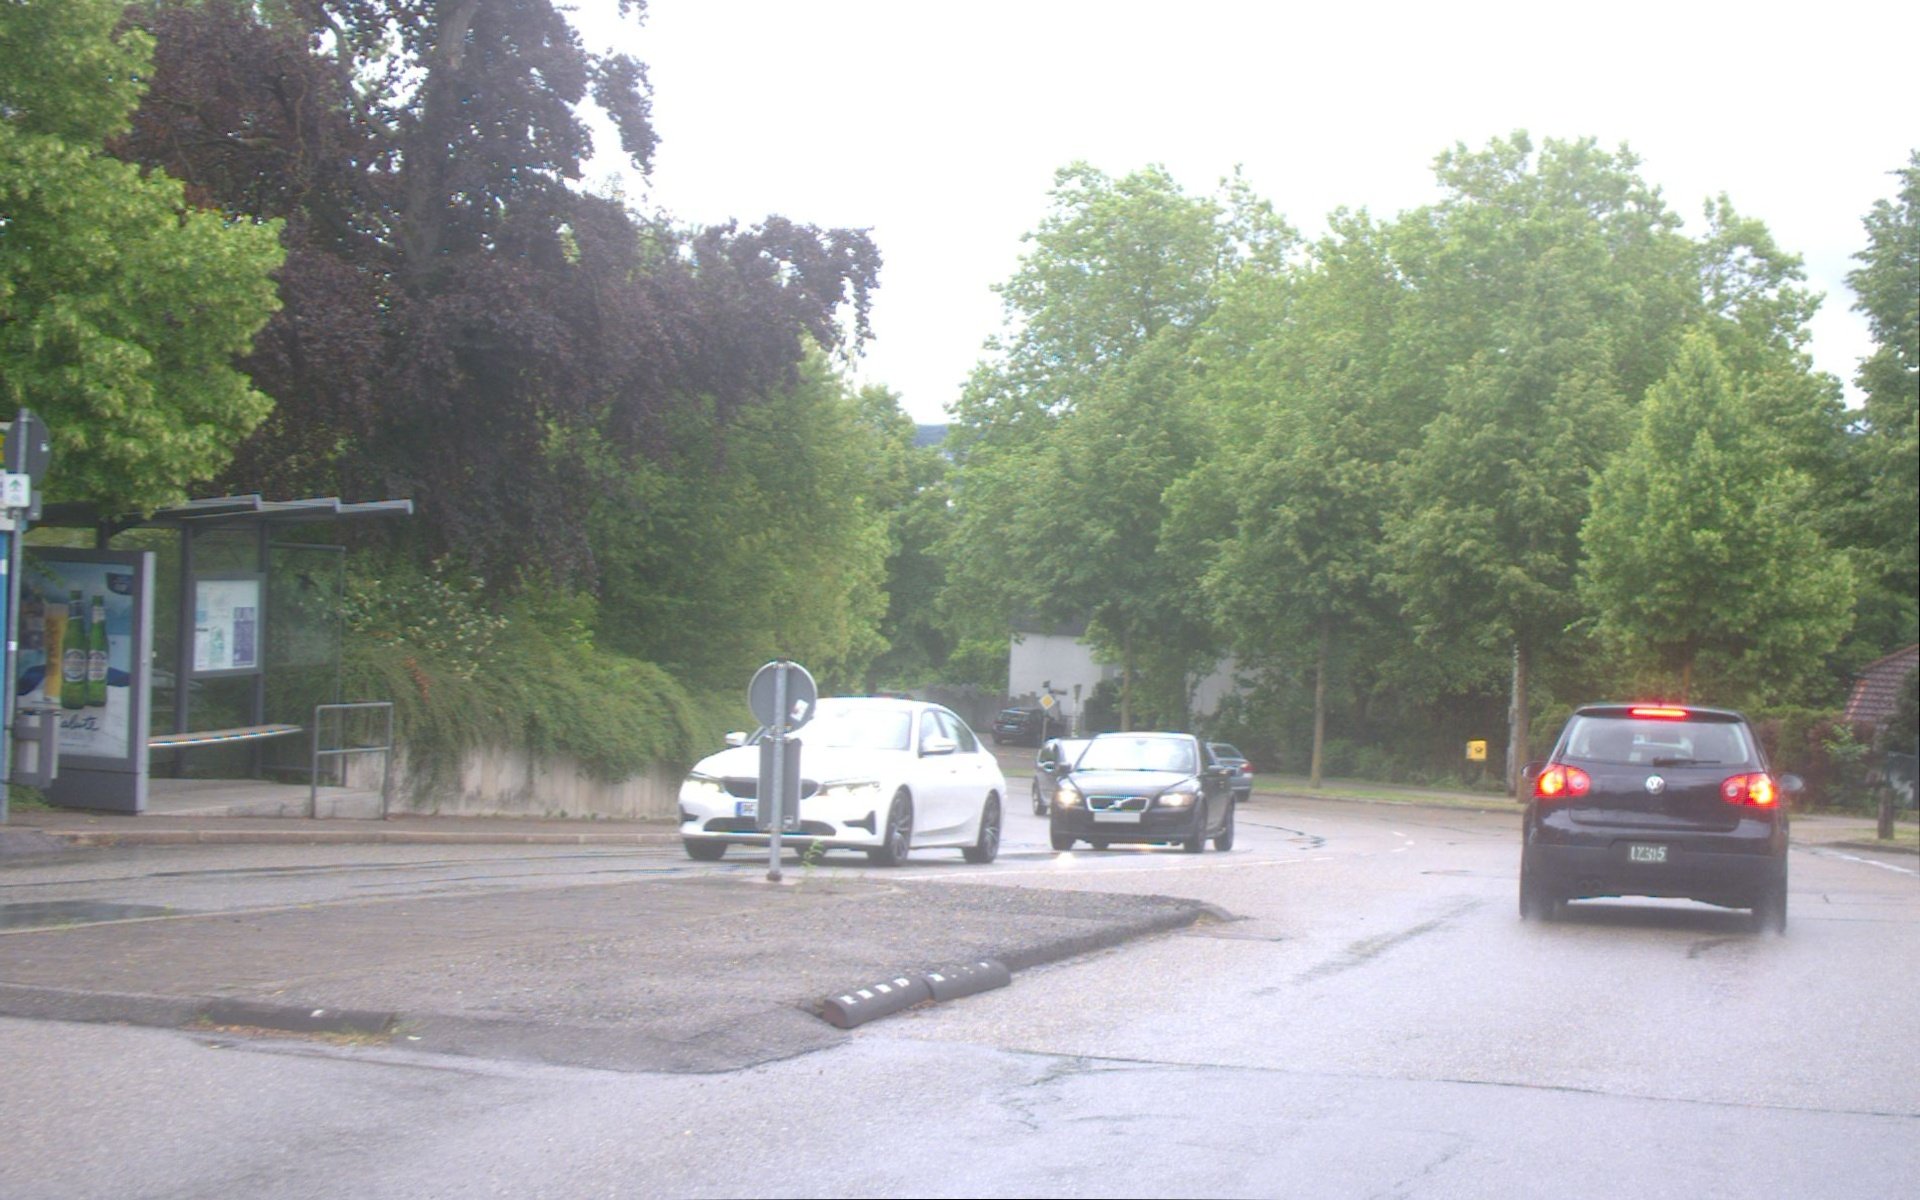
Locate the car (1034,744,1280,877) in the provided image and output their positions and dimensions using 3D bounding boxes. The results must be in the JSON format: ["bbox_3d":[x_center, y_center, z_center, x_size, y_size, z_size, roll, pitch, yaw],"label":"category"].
[{"bbox_3d":[2.421,2.470,40.959,1.910,1.388,4.511,2,-2,16],"label":"car"}]

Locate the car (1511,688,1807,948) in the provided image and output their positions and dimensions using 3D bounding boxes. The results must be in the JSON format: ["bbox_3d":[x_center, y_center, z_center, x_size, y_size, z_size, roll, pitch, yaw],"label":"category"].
[{"bbox_3d":[4.861,1.461,23.824,1.766,1.533,3.997,3,-2,12],"label":"car"}]

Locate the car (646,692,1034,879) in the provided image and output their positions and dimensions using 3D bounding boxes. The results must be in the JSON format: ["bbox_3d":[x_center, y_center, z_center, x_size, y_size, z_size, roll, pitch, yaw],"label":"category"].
[{"bbox_3d":[-0.929,1.603,29.671,1.910,1.388,4.511,2,-2,17],"label":"car"}]

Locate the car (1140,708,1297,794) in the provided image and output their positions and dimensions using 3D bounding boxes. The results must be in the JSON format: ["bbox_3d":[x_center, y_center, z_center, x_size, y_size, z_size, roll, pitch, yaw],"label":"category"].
[{"bbox_3d":[6.181,3.614,82.618,2.065,1.833,4.001,2,0,-24],"label":"car"}]

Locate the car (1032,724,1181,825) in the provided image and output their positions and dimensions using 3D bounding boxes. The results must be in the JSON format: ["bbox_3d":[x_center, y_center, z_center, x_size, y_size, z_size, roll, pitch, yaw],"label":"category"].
[{"bbox_3d":[2.994,3.594,71.201,2.064,1.833,4.001,2,0,-13],"label":"car"}]

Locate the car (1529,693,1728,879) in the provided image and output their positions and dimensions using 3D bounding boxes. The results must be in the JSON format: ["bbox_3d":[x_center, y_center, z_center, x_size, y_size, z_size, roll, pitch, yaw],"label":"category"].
[{"bbox_3d":[7.075,1.925,36.699,1.765,1.795,4.245,1,-1,7],"label":"car"}]
